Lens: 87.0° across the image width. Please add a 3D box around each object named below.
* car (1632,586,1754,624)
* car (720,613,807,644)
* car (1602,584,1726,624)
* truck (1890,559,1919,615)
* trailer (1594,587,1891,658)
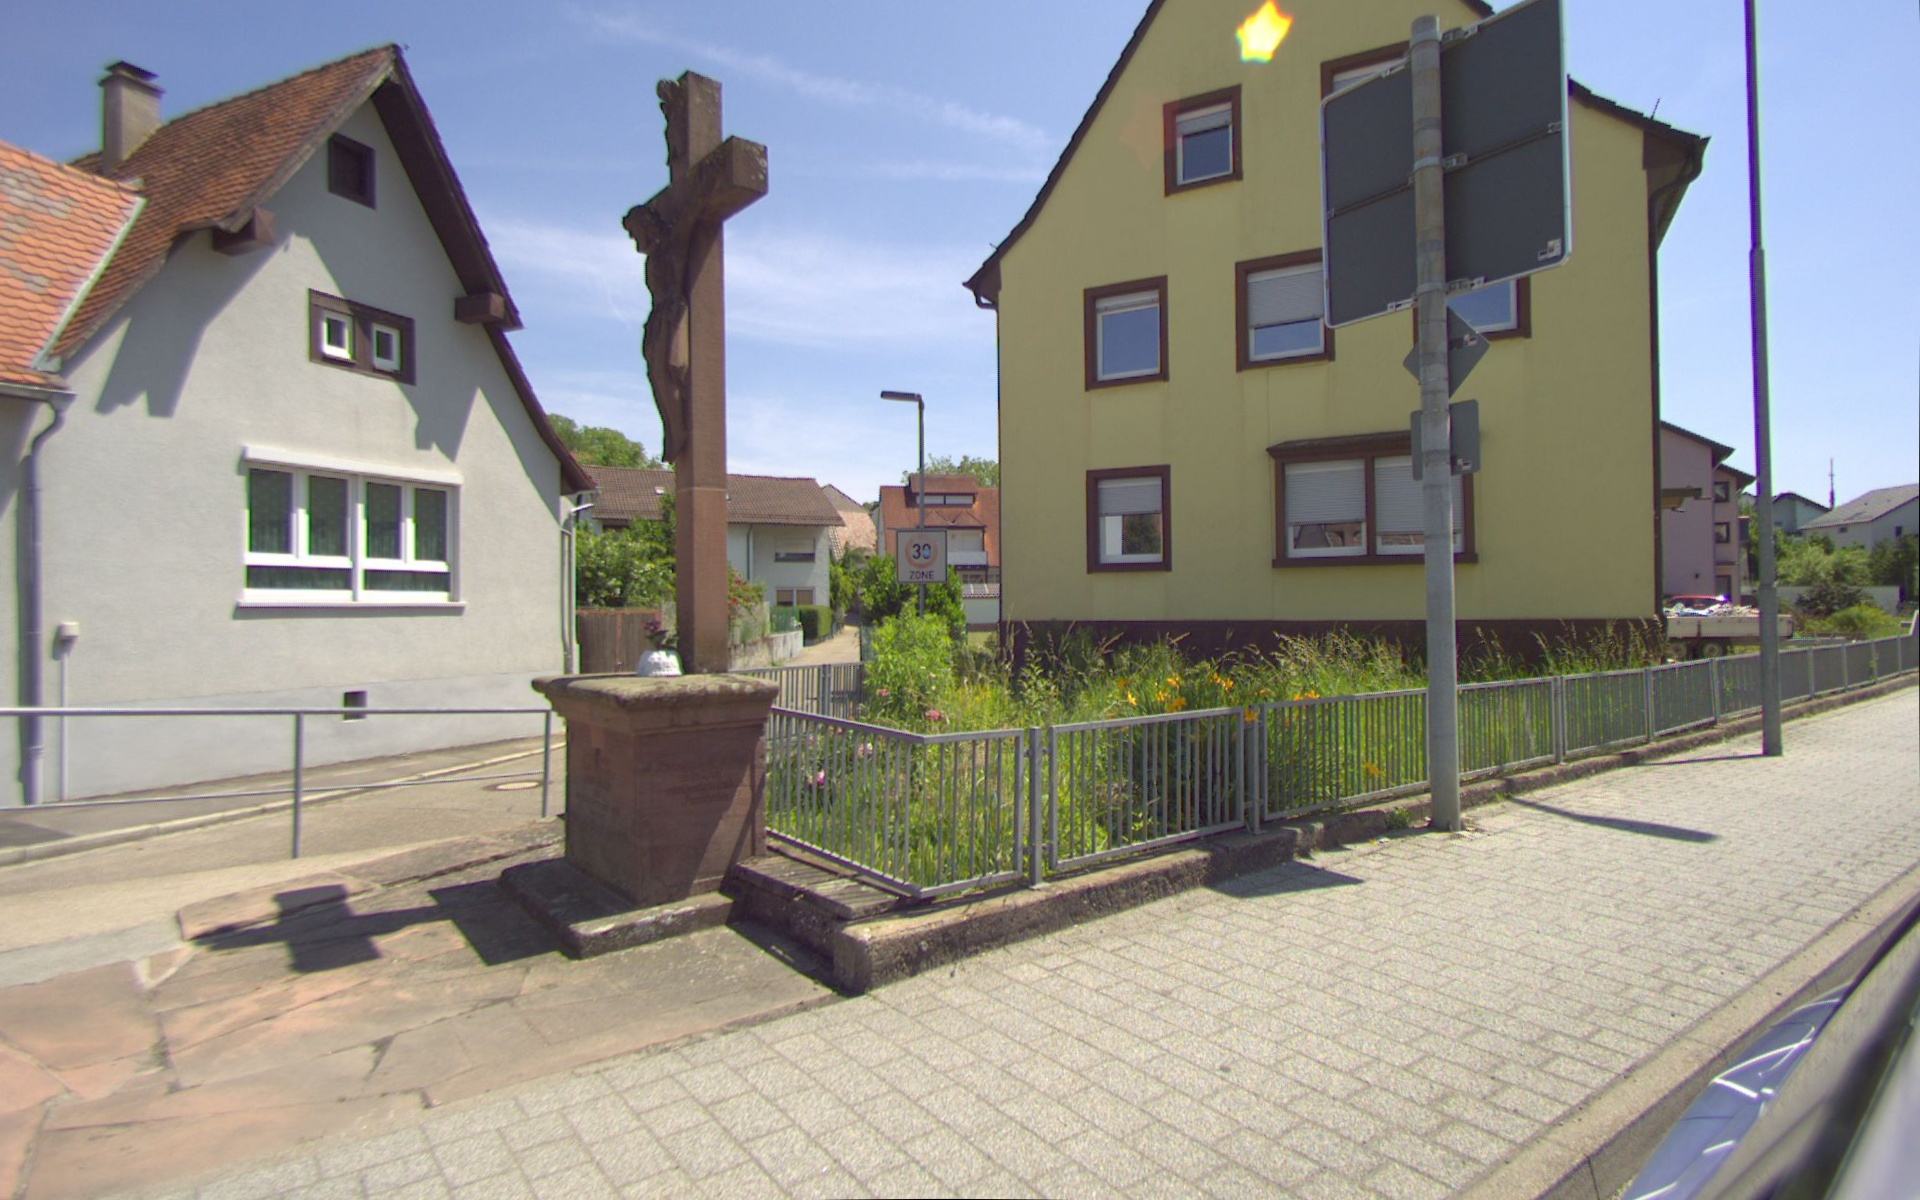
[{"bbox_3d":[29.531,0.175,40.921,3.806,1.505,1.742,0,0,31],"label":"car"},{"bbox_3d":[-9.558,1.376,49.141,3.916,1.380,1.667,-1,-1,-21],"label":"car"},{"bbox_3d":[30.114,0.182,43.462,4.085,1.567,1.833,-2,-1,27],"label":"car"},{"bbox_3d":[64.253,-0.906,64.748,3.157,3.646,8.271,-2,-1,13],"label":"truck"},{"bbox_3d":[18.766,0.561,24.677,5.307,1.566,2.120,-2,-1,26],"label":"trailer"}]
